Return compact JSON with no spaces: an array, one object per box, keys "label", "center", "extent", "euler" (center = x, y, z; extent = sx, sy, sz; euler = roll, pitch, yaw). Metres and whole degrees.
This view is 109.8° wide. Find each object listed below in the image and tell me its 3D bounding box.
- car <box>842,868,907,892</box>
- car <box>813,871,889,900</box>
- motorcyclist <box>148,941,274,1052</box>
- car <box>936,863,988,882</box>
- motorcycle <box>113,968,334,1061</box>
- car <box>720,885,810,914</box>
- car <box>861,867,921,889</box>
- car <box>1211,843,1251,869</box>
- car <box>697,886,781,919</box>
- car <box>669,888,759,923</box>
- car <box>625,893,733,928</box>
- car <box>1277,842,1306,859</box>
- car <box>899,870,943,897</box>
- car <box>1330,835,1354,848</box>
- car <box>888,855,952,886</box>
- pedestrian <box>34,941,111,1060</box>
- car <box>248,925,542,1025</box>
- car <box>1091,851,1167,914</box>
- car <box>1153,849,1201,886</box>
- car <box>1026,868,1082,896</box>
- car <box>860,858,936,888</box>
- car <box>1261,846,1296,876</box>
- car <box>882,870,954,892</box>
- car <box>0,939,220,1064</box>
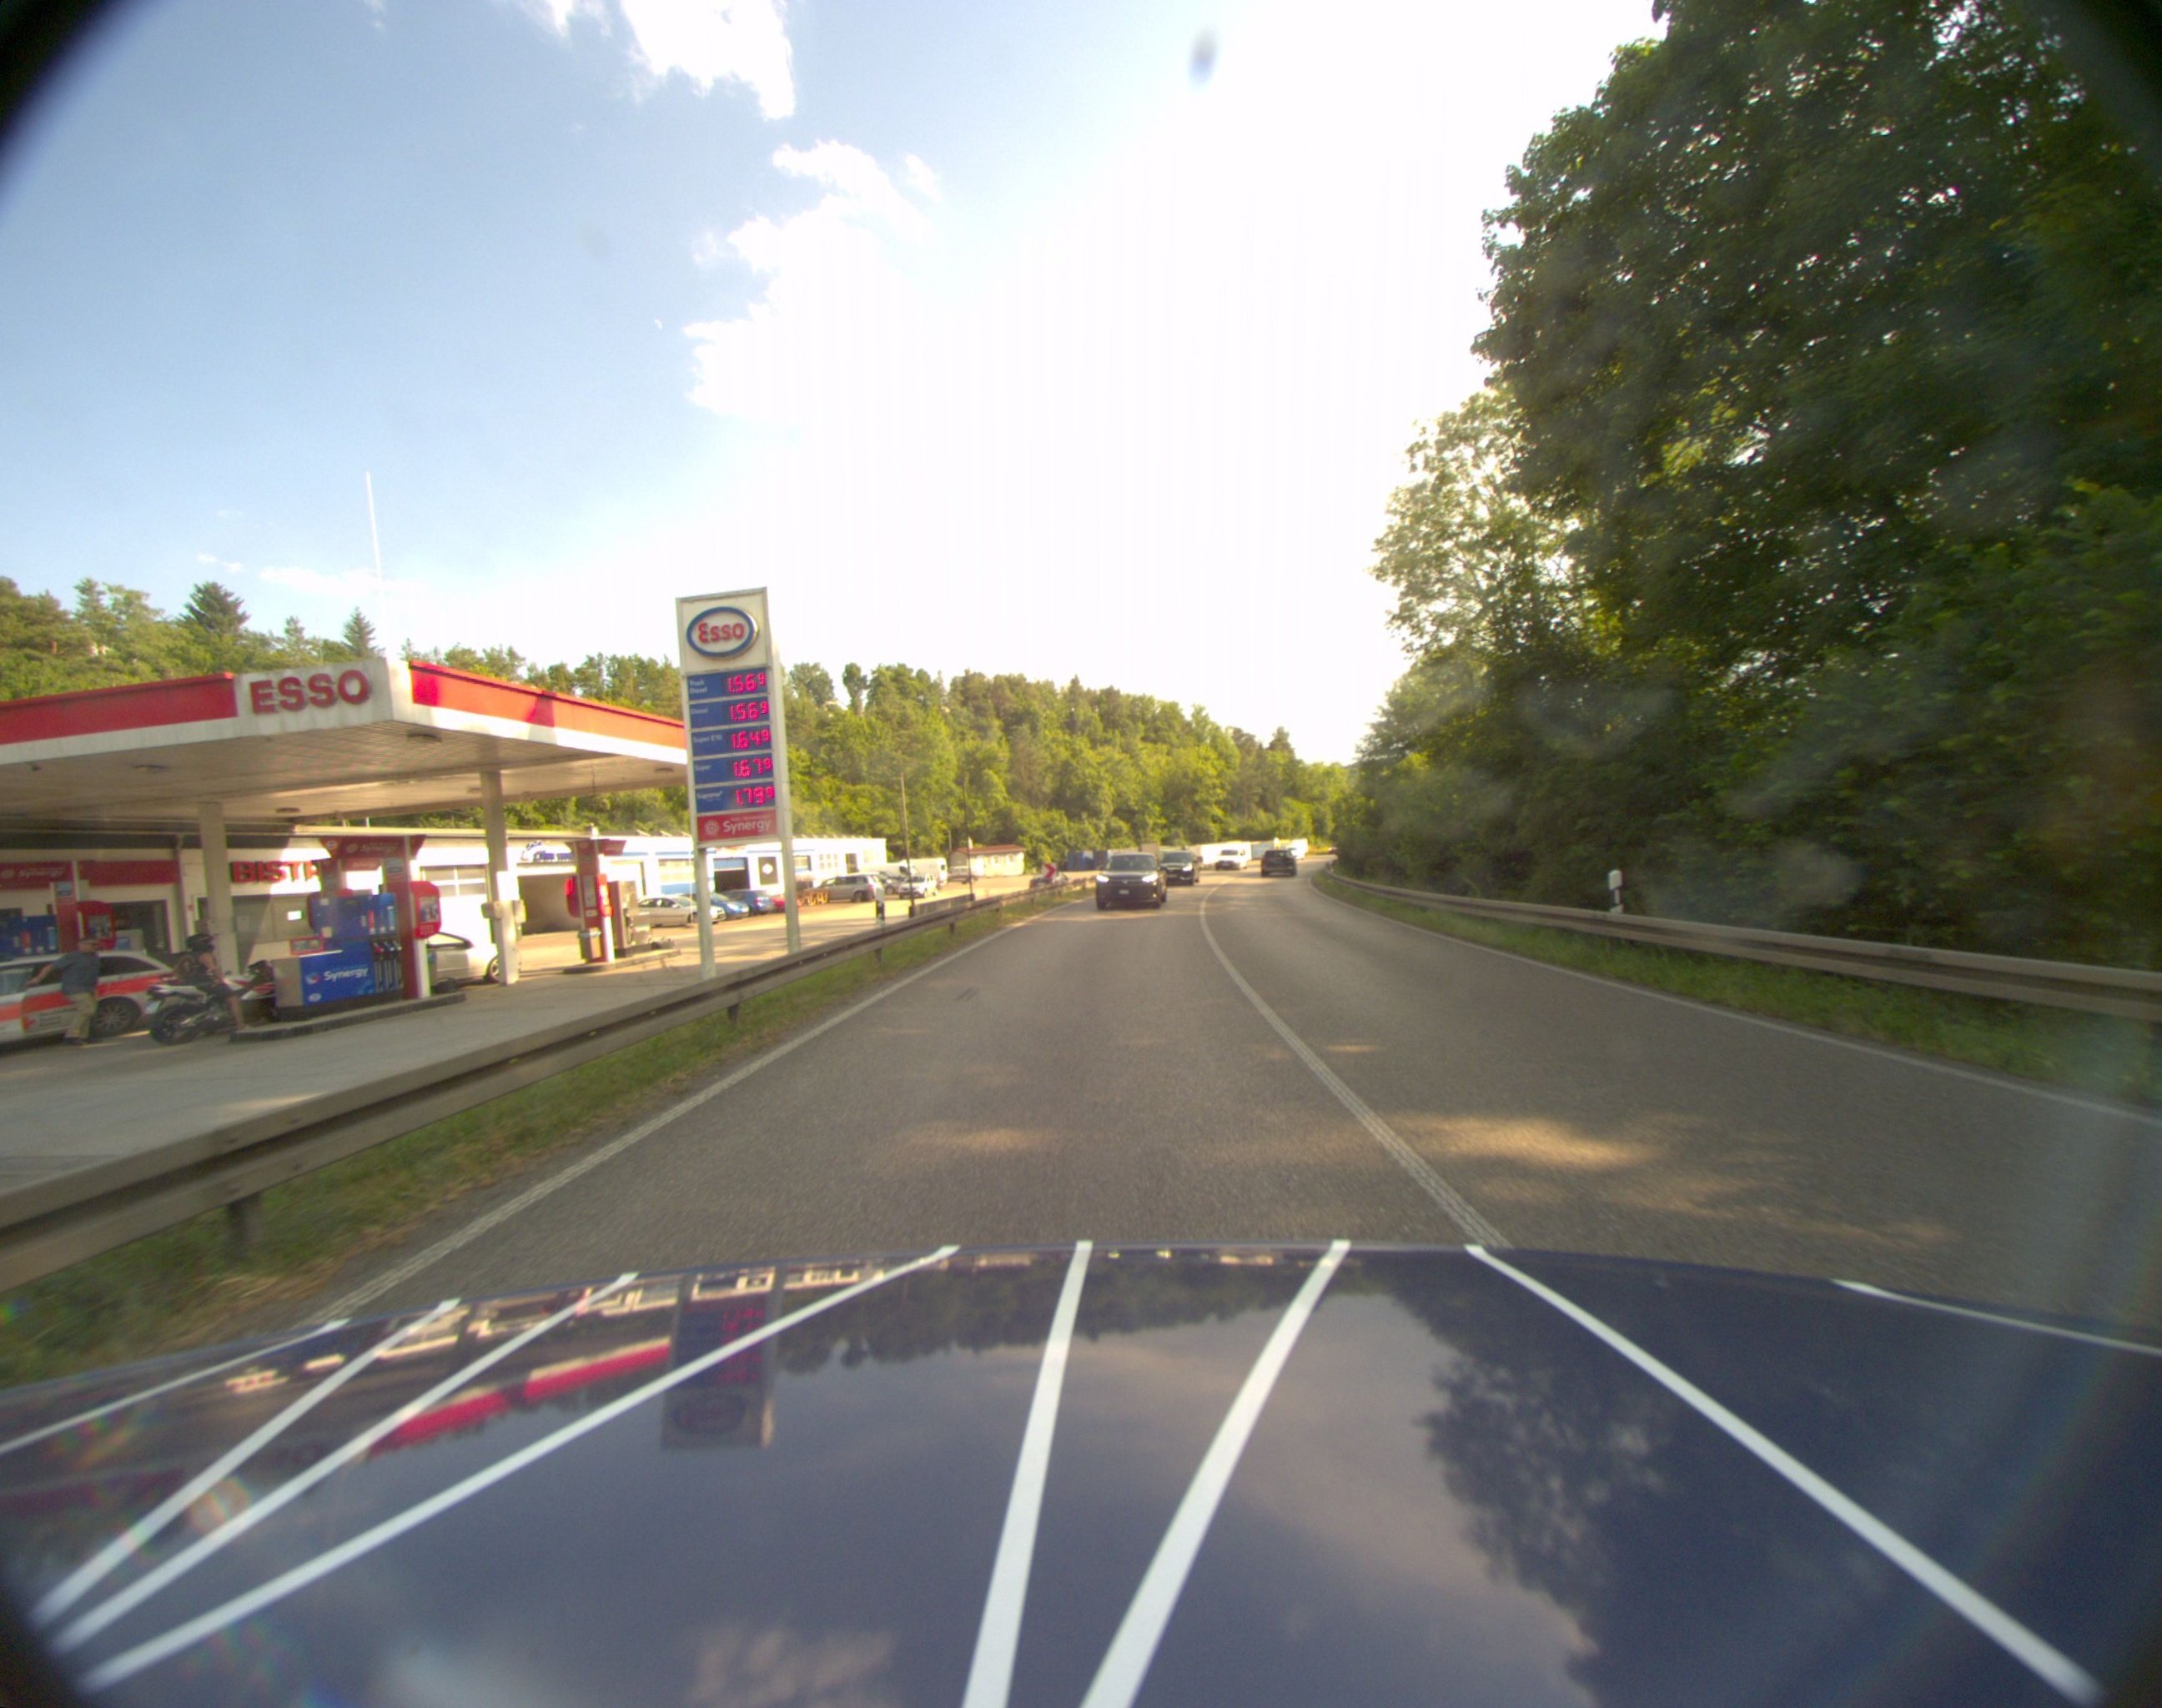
[{"label":"car","center":[-15.709,2.001,57.935],"extent":[4.248,1.601,1.896],"euler":[-2,1,8]},{"label":"car","center":[-14.899,2.017,49.405],"extent":[4.256,1.719,1.892],"euler":[-1,1,5]},{"label":"motorcyclist","center":[-14.058,2.280,12.310],"extent":[0.860,1.595,0.928],"euler":[-4,1,7]},{"label":"car","center":[-11.059,1.705,70.702],"extent":[4.412,1.660,1.938],"euler":[-1,-1,-33]},{"label":"motorcycle","center":[-13.998,2.581,12.552],"extent":[0.763,1.006,2.342],"euler":[-4,0,7]},{"label":"car","center":[-17.294,2.492,41.674],"extent":[4.075,1.340,1.896],"euler":[-2,1,8]},{"label":"car","center":[-15.088,1.914,60.332],"extent":[4.167,1.601,1.925],"euler":[-1,1,8]},{"label":"car","center":[11.319,0.124,56.954],"extent":[1.865,1.710,4.770],"euler":[-3,0,23]},{"label":"car","center":[-17.777,2.506,39.592],"extent":[3.551,1.437,1.735],"euler":[-4,0,8]},{"label":"car","center":[-18.012,2.530,37.374],"extent":[3.557,1.398,1.692],"euler":[-3,1,8]},{"label":"car","center":[-18.347,2.576,34.808],"extent":[3.965,1.347,1.777],"euler":[-2,1,4]},{"label":"car","center":[21.968,-0.365,79.156],"extent":[1.893,1.437,4.483],"euler":[-4,0,29]},{"label":"car","center":[-10.592,1.939,50.521],"extent":[1.794,1.587,3.990],"euler":[-1,1,4]},{"label":"car","center":[34.014,-1.686,98.813],"extent":[1.856,1.412,4.426],"euler":[-4,0,33]},{"label":"car","center":[-14.032,1.414,66.362],"extent":[4.918,2.435,2.208],"euler":[-2,1,6]},{"label":"pedestrian","center":[-16.275,2.329,12.263],"extent":[0.703,1.766,0.620],"euler":[-4,1,35]},{"label":"car","center":[-14.143,2.439,16.102],"extent":[1.846,1.311,4.392],"euler":[-3,0,8]},{"label":"car","center":[1.551,0.776,22.954],"extent":[1.858,1.630,4.443],"euler":[-2,1,8]},{"label":"car","center":[4.716,0.627,36.738],"extent":[1.847,1.561,4.260],"euler":[-2,1,13]},{"label":"car","center":[-1.512,1.593,44.073],"extent":[1.826,1.345,4.277],"euler":[-3,0,18]},{"label":"car","center":[-15.061,1.555,62.652],"extent":[5.484,2.261,2.296],"euler":[-2,1,8]},{"label":"car","center":[11.806,0.397,45.302],"extent":[1.870,1.643,4.555],"euler":[-1,0,16]},{"label":"car","center":[-11.843,1.961,55.429],"extent":[4.729,1.425,1.958],"euler":[-1,1,6]},{"label":"car","center":[-17.773,2.506,11.987],"extent":[2.096,1.618,5.182],"euler":[-3,0,7]}]
